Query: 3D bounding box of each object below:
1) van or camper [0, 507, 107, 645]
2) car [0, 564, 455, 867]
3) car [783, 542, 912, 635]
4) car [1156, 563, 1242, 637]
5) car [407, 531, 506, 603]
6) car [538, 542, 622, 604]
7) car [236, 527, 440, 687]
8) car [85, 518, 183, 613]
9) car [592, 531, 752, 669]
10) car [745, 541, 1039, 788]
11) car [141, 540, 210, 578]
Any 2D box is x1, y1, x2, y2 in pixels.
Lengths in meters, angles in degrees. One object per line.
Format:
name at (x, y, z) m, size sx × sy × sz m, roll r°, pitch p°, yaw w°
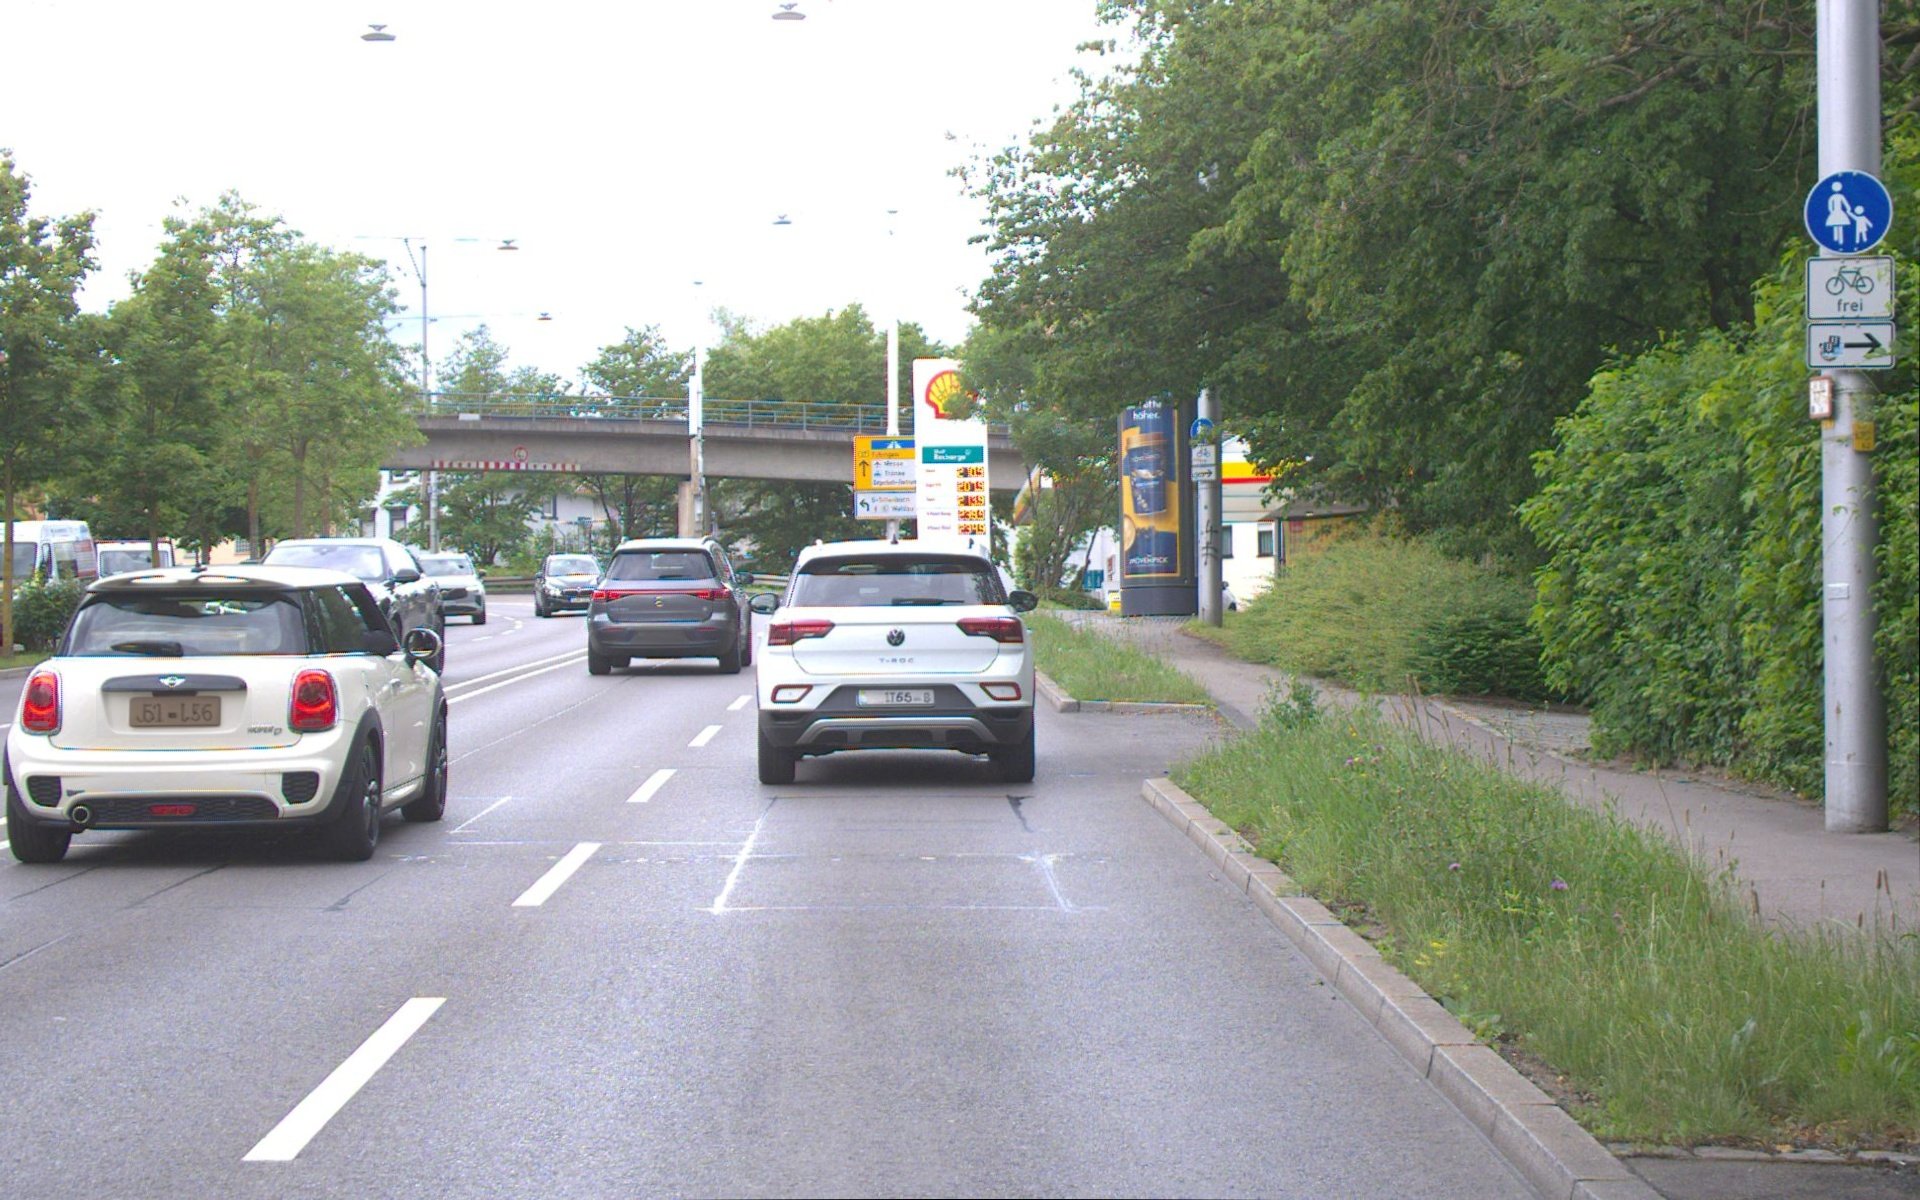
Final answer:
van or camper at (-17.749, -0.445, 64.433) m, size 1.993 × 2.464 × 5.710 m, roll -1°, pitch 1°, yaw 1°
car at (-3.662, 0.509, 17.445) m, size 1.722 × 1.371 × 3.457 m, roll 0°, pitch 1°, yaw -1°
car at (-1.787, -0.202, 53.627) m, size 1.675 × 1.404 × 3.457 m, roll 0°, pitch 1°, yaw -8°
car at (5.447, 0.026, 78.586) m, size 1.735 × 1.481 × 3.877 m, roll -1°, pitch -3°, yaw 1°
car at (-12.298, -0.828, 84.190) m, size 1.764 × 1.703 × 4.871 m, roll 0°, pitch 1°, yaw -1°
car at (-9.940, -0.722, 90.160) m, size 1.764 × 1.587 × 4.366 m, roll 0°, pitch 1°, yaw -1°
car at (-7.123, 0.050, 39.779) m, size 1.847 × 1.697 × 4.764 m, roll -1°, pitch 1°, yaw -5°
car at (-20.888, -0.875, 87.005) m, size 2.267 × 2.265 × 6.329 m, roll -1°, pitch 1°, yaw -13°
car at (-3.523, -0.023, 42.578) m, size 1.722 × 1.634 × 3.457 m, roll 0°, pitch 1°, yaw -1°
car at (-0.436, 0.371, 22.791) m, size 1.797 × 1.514 × 3.457 m, roll 0°, pitch 1°, yaw -1°
car at (-34.235, -1.785, 149.931) m, size 1.785 × 1.570 × 4.468 m, roll -2°, pitch 1°, yaw -27°
